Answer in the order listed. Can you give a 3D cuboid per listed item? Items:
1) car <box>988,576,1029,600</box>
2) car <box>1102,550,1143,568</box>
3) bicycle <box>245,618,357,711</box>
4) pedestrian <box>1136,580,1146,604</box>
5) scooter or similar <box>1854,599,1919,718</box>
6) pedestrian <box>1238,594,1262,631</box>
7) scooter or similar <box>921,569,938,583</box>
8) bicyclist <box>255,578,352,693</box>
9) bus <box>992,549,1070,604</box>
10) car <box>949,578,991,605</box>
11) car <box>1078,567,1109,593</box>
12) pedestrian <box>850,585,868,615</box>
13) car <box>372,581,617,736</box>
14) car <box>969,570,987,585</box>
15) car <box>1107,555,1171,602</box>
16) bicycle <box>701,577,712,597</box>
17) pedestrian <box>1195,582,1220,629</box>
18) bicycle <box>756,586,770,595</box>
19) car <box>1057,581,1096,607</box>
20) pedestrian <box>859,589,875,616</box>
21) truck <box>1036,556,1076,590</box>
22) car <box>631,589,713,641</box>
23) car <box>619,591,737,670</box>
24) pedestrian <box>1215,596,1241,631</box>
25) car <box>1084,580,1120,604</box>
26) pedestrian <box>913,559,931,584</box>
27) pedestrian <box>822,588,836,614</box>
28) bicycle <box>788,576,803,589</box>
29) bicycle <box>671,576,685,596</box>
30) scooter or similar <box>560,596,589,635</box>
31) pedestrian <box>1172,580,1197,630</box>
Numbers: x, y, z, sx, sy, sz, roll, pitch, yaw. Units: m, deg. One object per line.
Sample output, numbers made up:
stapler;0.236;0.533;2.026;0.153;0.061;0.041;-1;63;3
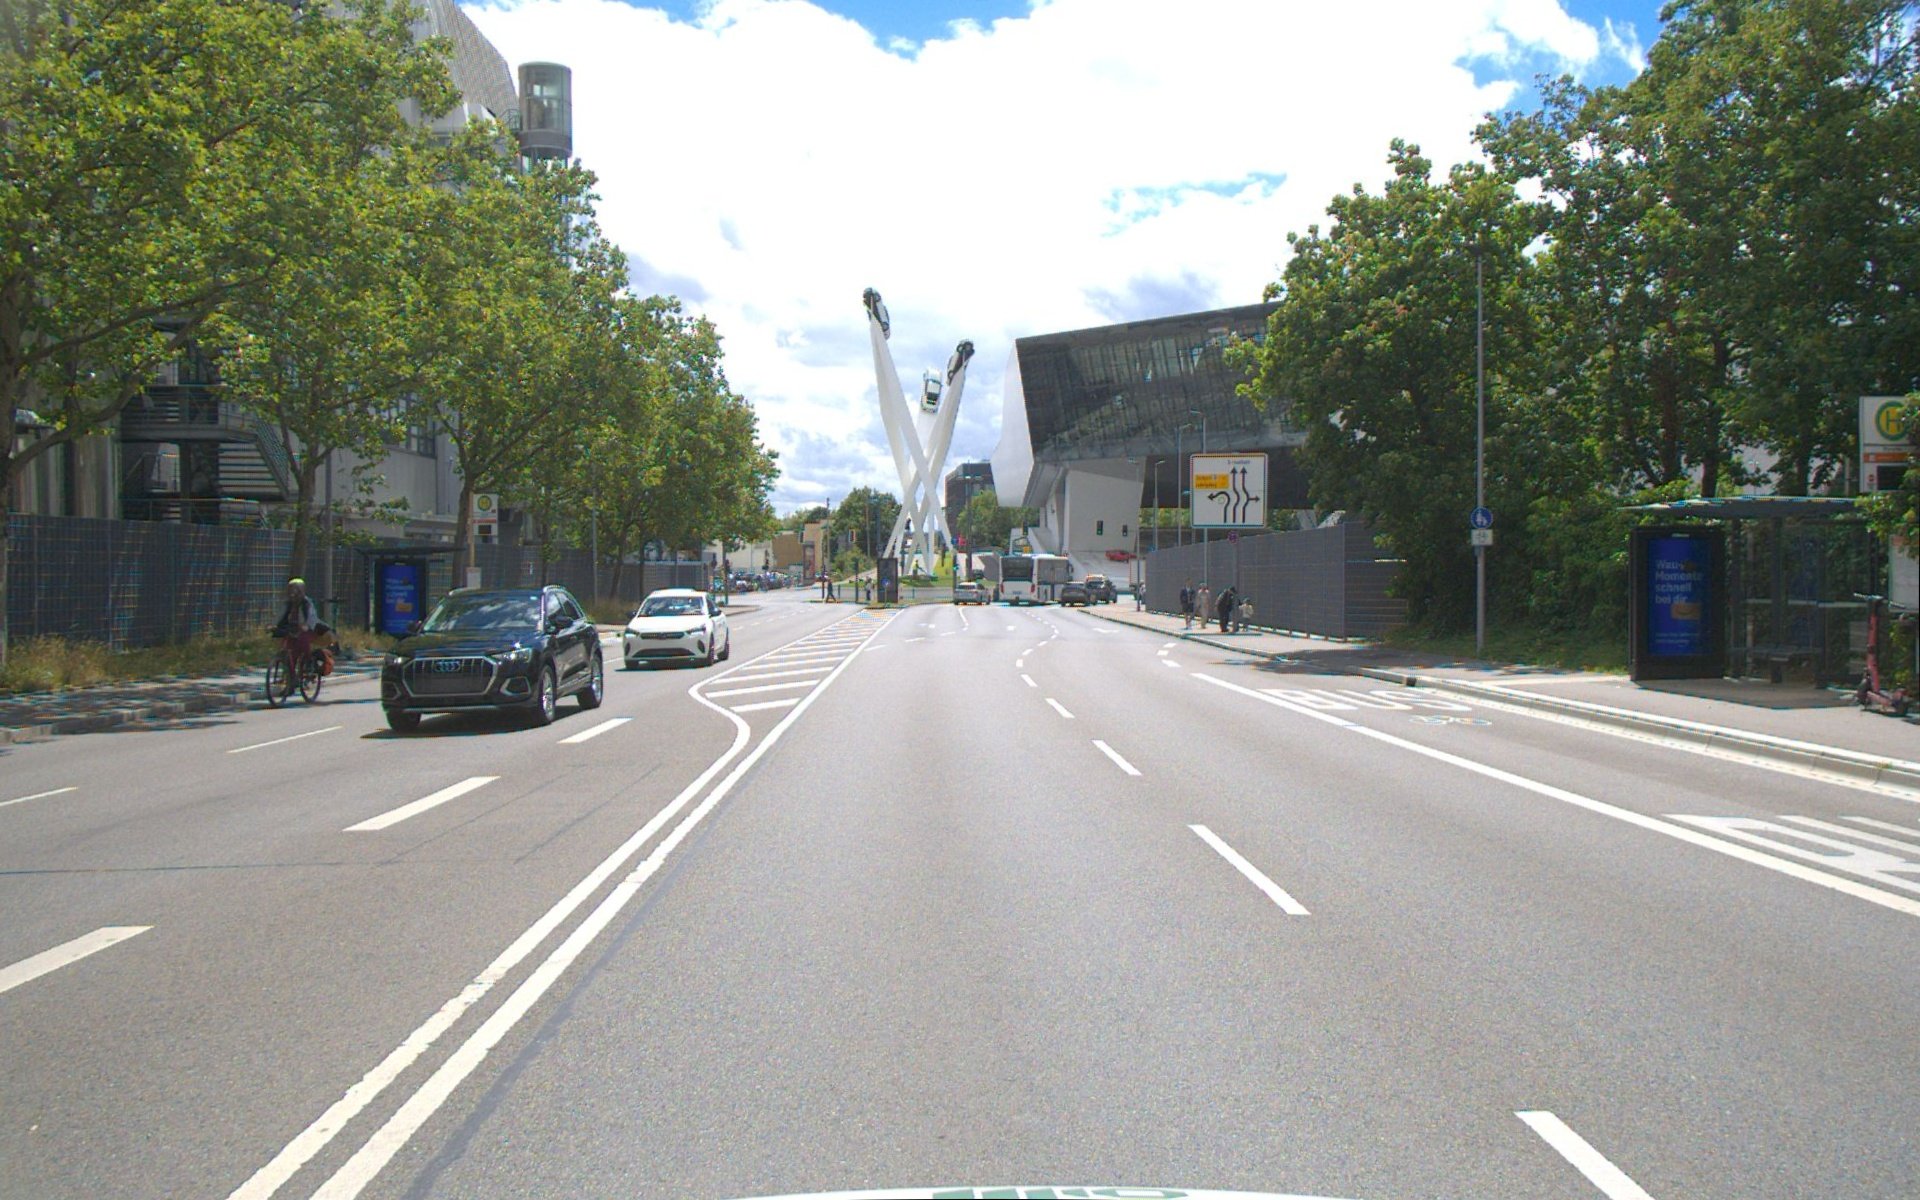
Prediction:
car;3.557;-0.856;121.177;1.952;1.665;4.002;1;0;18
car;18.544;-4.700;188.949;1.985;1.418;4.444;-6;11;-43
bicycle;-9.689;0.914;24.418;0.721;1.256;2.472;-2;0;-2
pedestrian;12.512;-0.574;114.375;0.645;1.636;0.823;1;0;10
scooter or similar;10.048;0.597;17.917;0.531;1.183;2.126;-1;0;26
pedestrian;9.739;0.426;55.584;0.699;1.228;0.599;1;0;3
scooter or similar;-2.477;-1.969;134.658;1.373;1.043;0.549;-3;6;-6
bicyclist;-9.702;0.517;24.480;0.937;1.625;1.222;-2;0;-4
bus;4.928;-1.530;112.090;3.006;3.421;12.232;1;0;13
car;0.691;-0.524;107.920;1.951;1.665;4.003;1;0;12
car;10.902;-1.623;134.718;1.951;1.966;4.244;1;0;12
pedestrian;-7.098;0.003;115.980;0.932;2.091;0.951;1;0;18
car;-5.479;0.630;20.029;1.704;1.608;4.267;-2;0;0
car;2.048;-2.593;189.392;1.952;1.664;4.657;1;2;1
car;14.537;-1.673;133.855;3.265;3.565;9.345;1;0;18
bicycle;-14.321;-0.724;93.344;0.290;1.151;1.485;1;0;3
pedestrian;8.863;0.197;59.271;0.778;1.625;0.731;1;0;-1
bicycle;-21.140;-1.036;177.859;0.483;0.881;1.603;1;2;40
car;7.673;-0.390;108.500;1.951;1.665;4.004;1;1;12
pedestrian;-6.356;0.165;112.947;0.848;1.805;1.031;1;0;-14
truck;7.763;-2.177;133.532;2.160;2.560;5.136;1;0;16
car;-9.287;0.451;53.691;1.839;1.532;4.191;-2;1;1
car;-5.620;0.561;33.436;1.657;1.439;4.145;-2;0;-1
pedestrian;8.974;0.451;55.392;0.742;1.169;0.972;1;0;3
car;9.985;-0.548;116.143;1.951;1.665;4.003;1;0;12
pedestrian;-3.091;-2.315;134.386;1.257;1.847;0.986;-4;4;-7
pedestrian;-9.285;0.095;117.173;0.848;1.805;1.031;1;0;-14
bicycle;-18.332;-1.952;184.385;1.573;1.339;0.492;1;0;-1
bicycle;-14.823;-0.755;86.908;0.290;1.023;1.253;1;0;10
scooter or similar;-13.184;0.524;56.617;0.512;1.256;1.319;3;1;6
pedestrian;8.042;0.189;59.239;0.778;1.751;0.731;1;0;-1
